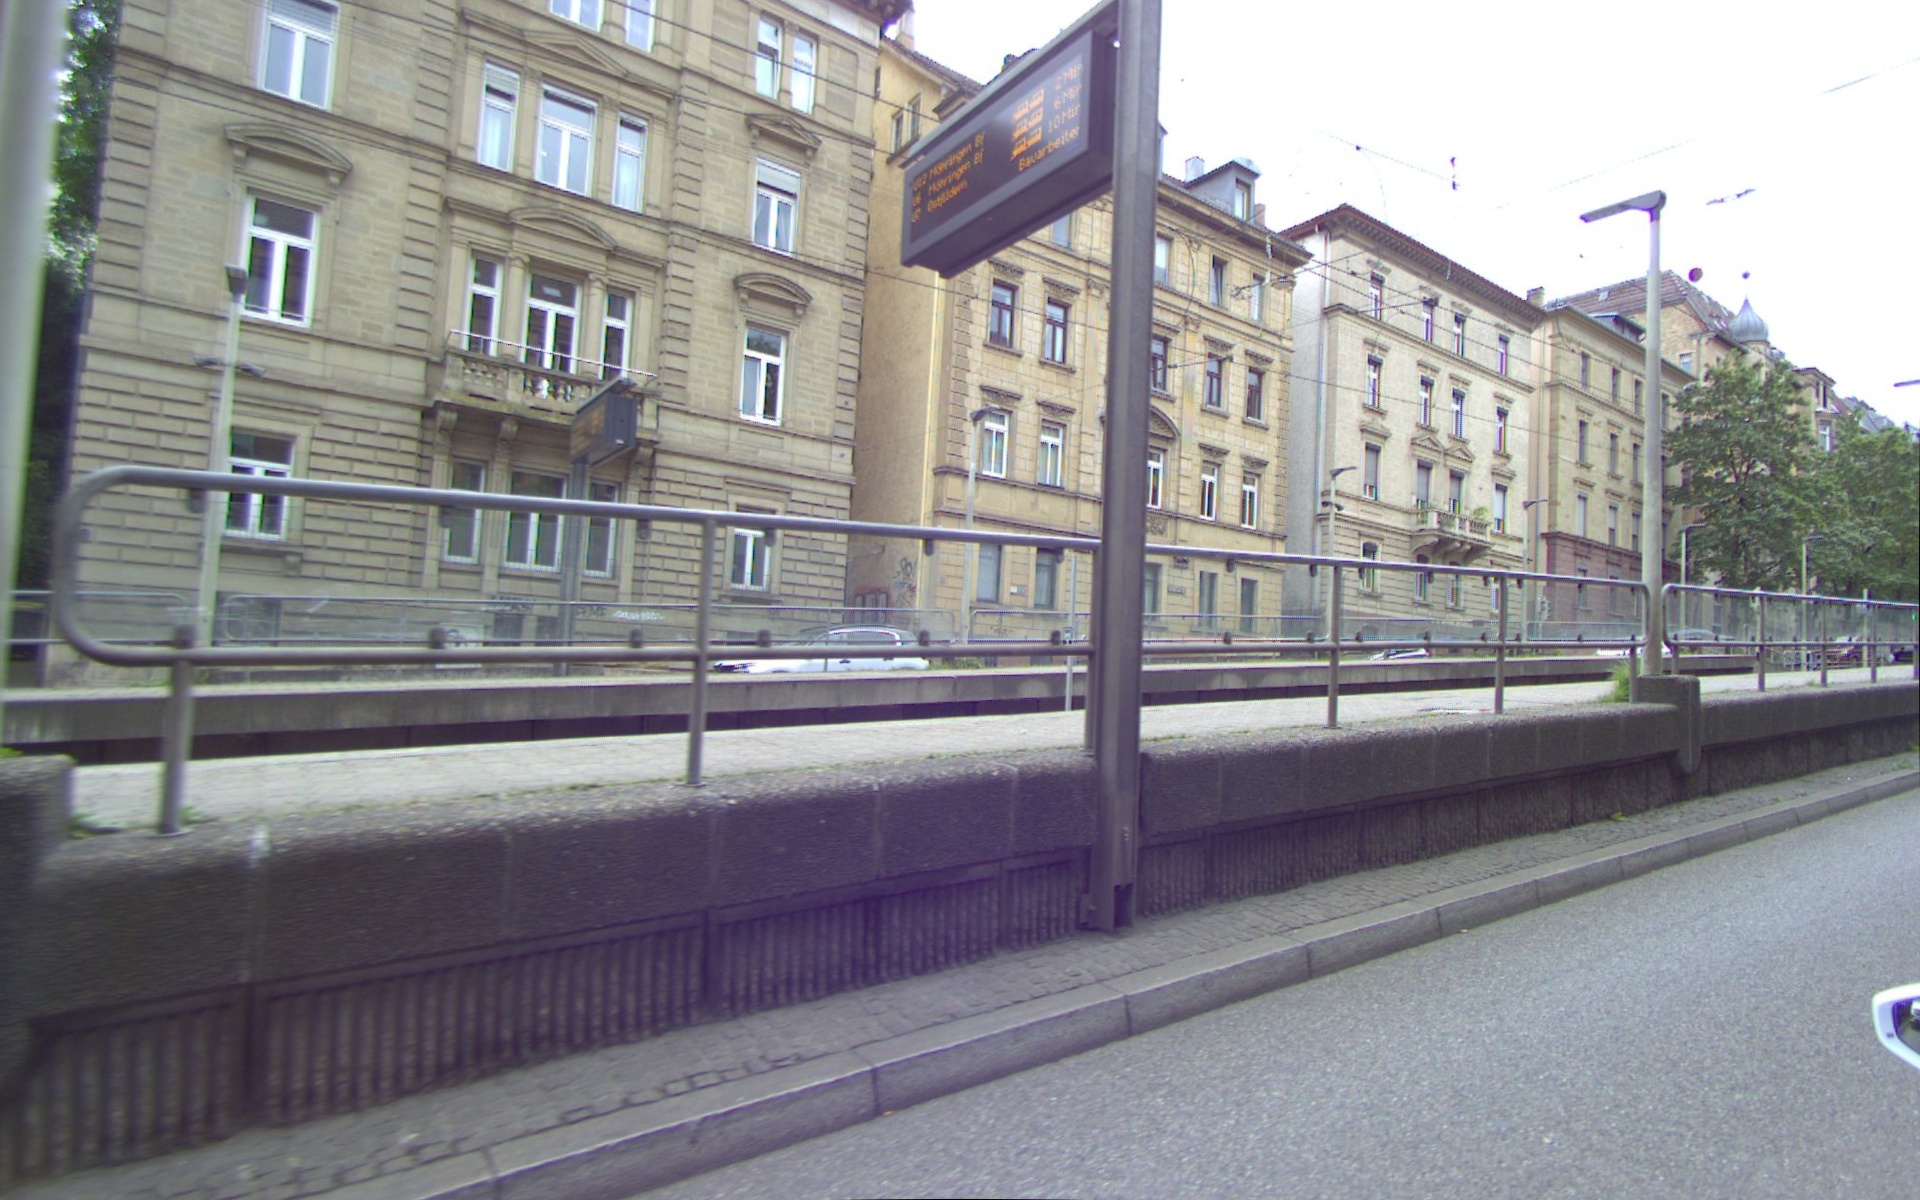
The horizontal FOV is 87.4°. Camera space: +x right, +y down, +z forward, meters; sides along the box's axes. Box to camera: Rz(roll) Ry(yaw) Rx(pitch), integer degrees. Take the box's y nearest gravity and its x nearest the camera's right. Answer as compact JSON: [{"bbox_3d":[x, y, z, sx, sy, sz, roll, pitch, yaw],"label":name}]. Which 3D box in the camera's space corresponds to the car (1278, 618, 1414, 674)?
[{"bbox_3d":[11.403,1.329,29.611,3.960,1.548,1.866,1,-2,-35],"label":"car"}]

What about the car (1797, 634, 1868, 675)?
[{"bbox_3d":[42.328,2.608,48.715,4.102,1.884,1.835,2,-2,-38],"label":"car"}]

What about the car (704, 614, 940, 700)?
[{"bbox_3d":[-2.613,1.044,19.475,4.220,1.490,1.755,1,-1,-37],"label":"car"}]

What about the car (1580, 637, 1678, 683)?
[{"bbox_3d":[26.470,2.336,39.723,3.961,1.701,1.923,1,-3,-35],"label":"car"}]
